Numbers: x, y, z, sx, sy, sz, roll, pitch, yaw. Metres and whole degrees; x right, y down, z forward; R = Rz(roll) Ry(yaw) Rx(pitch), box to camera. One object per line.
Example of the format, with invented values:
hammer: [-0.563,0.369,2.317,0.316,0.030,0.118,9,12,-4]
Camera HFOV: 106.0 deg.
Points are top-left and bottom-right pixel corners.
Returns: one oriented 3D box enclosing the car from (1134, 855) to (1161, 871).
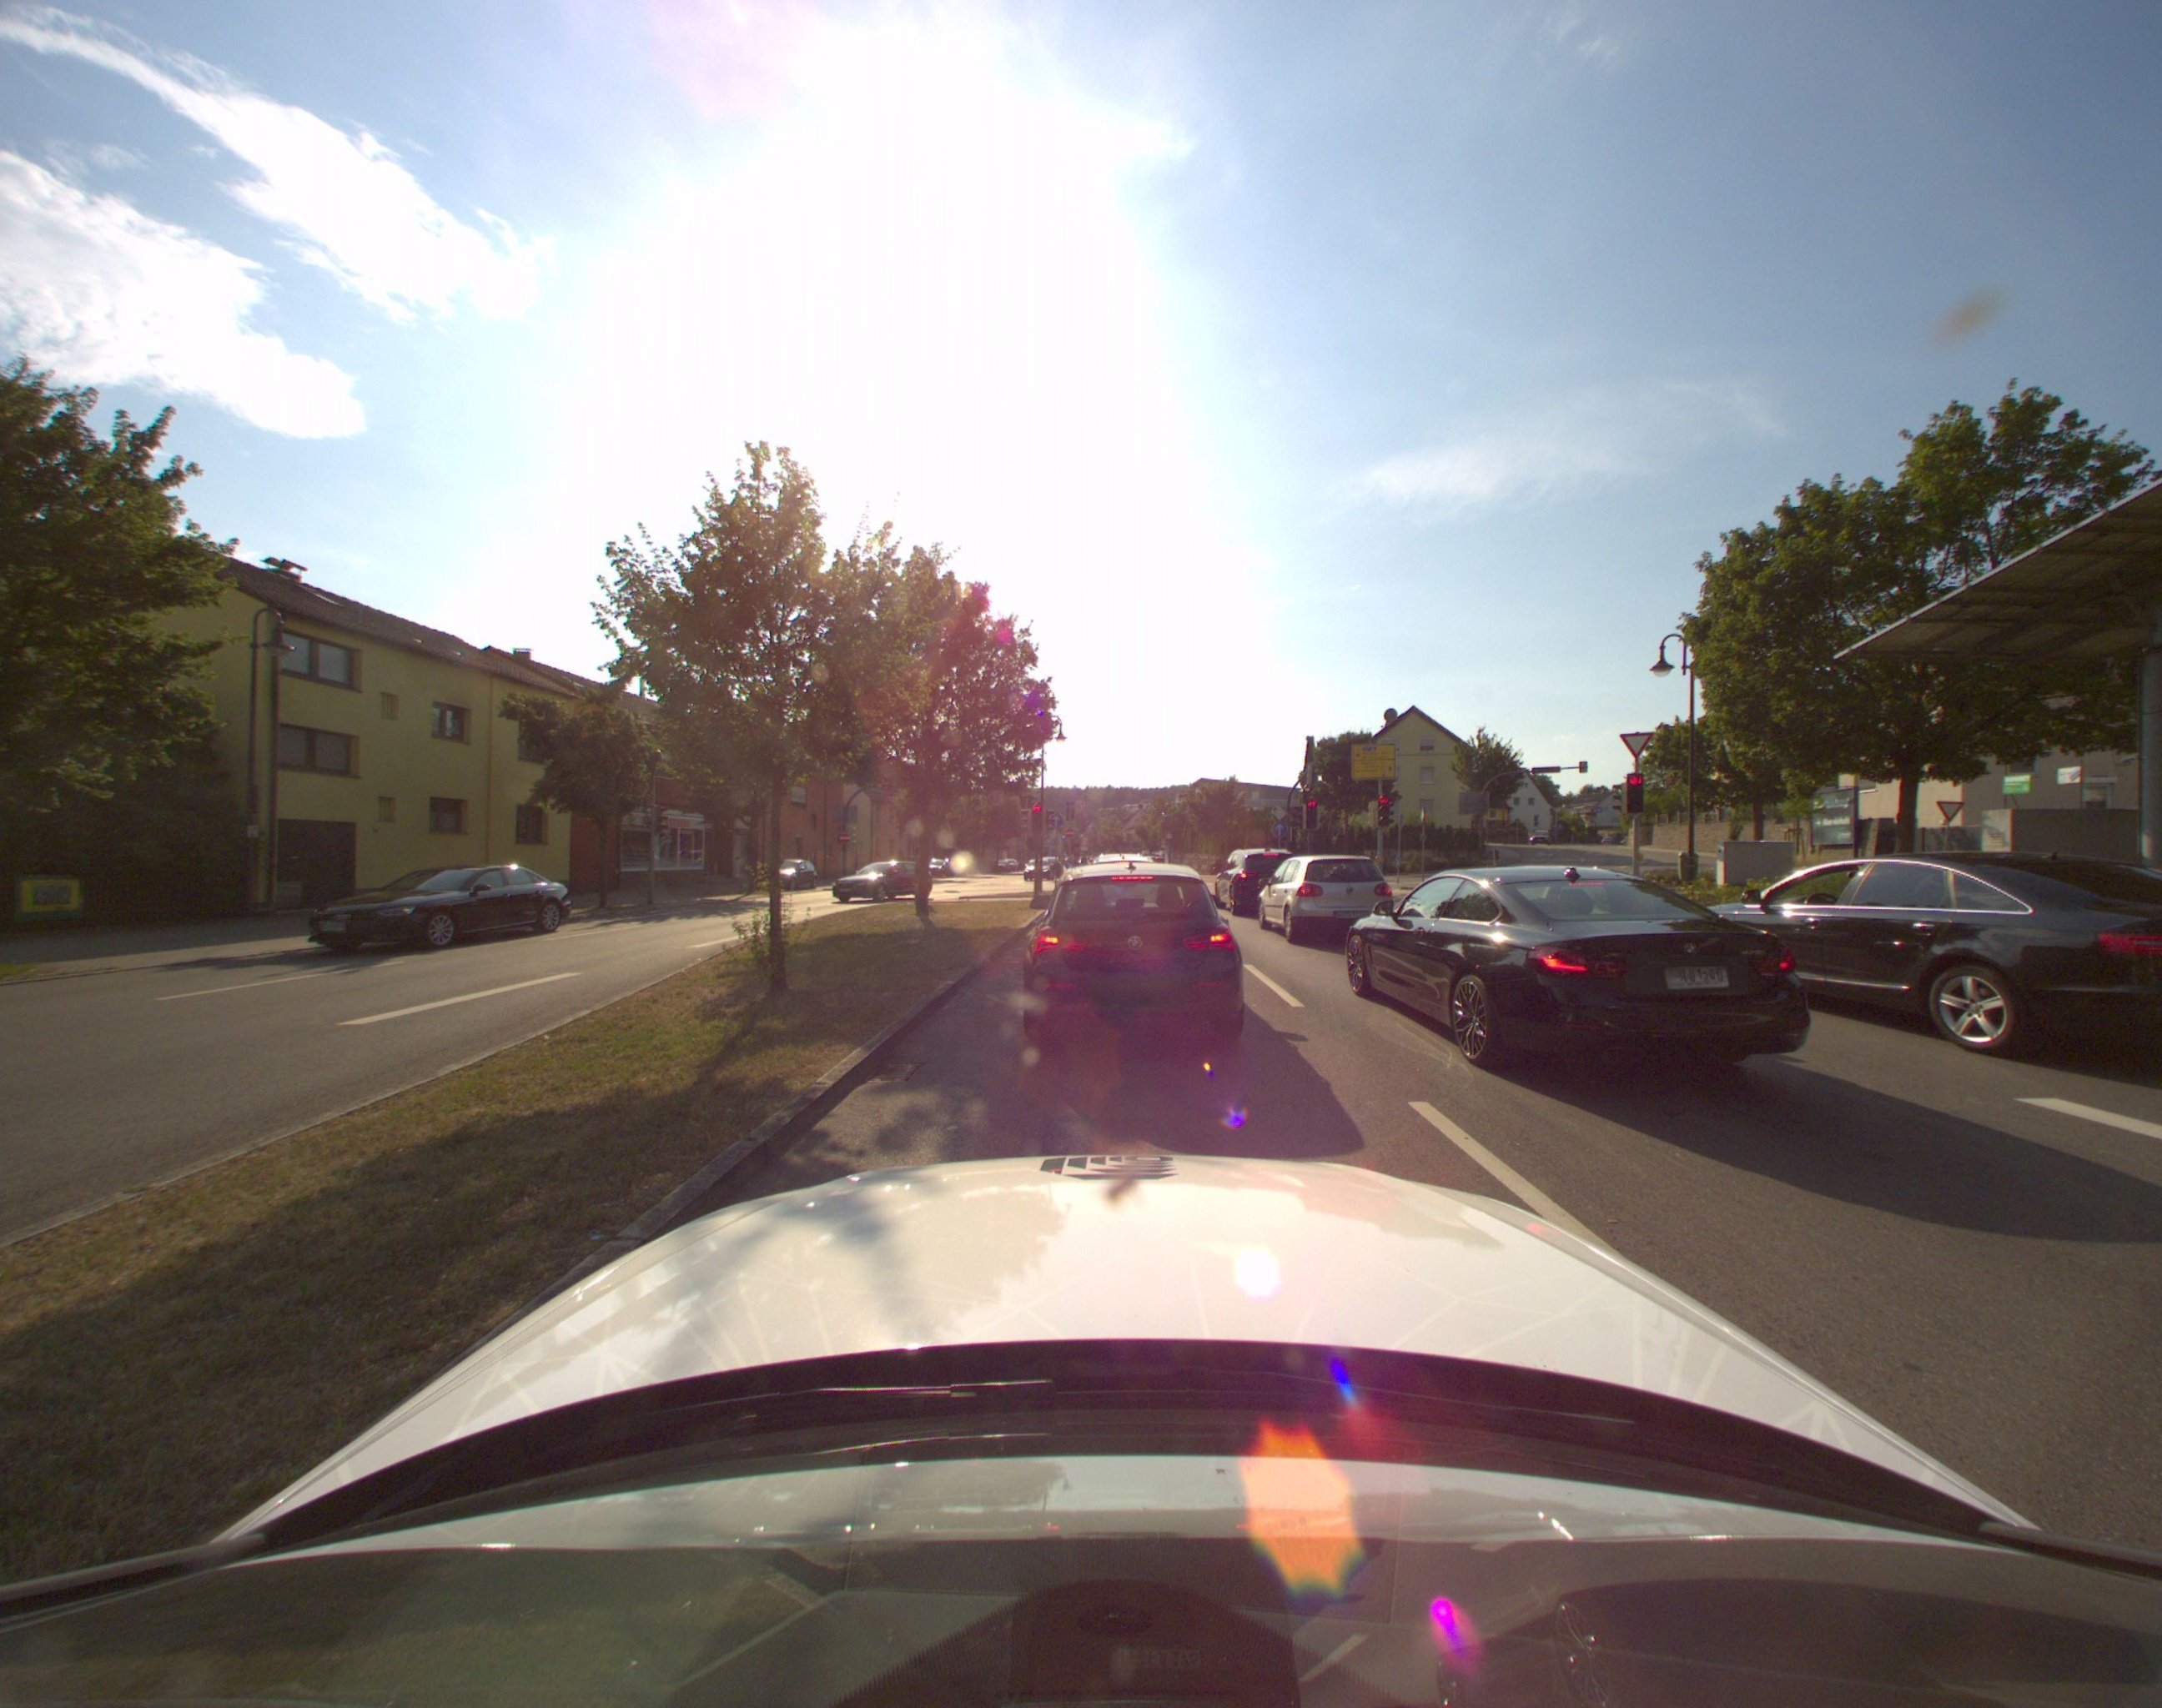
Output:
car: [6.302,0.835,77.709,1.858,1.485,4.652,0,0,-4]

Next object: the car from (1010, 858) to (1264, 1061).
car: [0.519,0.761,7.951,1.783,1.414,4.351,-1,0,3]

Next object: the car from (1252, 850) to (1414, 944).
car: [4.359,0.668,14.794,1.808,1.446,4.351,-1,0,3]

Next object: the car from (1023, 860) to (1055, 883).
car: [-2.859,1.169,56.255,1.759,1.458,4.004,0,0,4]

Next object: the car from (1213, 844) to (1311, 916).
car: [4.589,0.614,21.254,1.808,1.666,4.351,-1,0,3]

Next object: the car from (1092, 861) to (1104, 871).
car: [2.934,2.008,138.866,1.917,1.596,4.002,0,0,2]

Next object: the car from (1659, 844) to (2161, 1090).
car: [7.262,0.649,6.909,1.674,1.435,4.593,-1,0,3]

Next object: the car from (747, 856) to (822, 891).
car: [-14.178,0.896,39.153,1.835,1.552,4.005,2,0,5]

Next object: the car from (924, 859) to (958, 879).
car: [-11.640,1.233,68.158,1.916,1.596,4.004,0,0,4]

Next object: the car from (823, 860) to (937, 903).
car: [-7.130,0.932,29.346,1.630,1.386,4.214,0,0,26]

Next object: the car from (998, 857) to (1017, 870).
car: [-9.378,1.215,104.236,1.916,1.596,4.004,0,0,4]

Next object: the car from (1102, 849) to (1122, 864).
car: [3.719,0.287,99.022,1.887,1.702,4.518,-2,0,-4]

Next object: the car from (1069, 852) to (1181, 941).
car: [0.846,0.699,15.491,1.808,1.451,4.245,-1,0,3]

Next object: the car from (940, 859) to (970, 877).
car: [-11.409,1.230,74.032,1.916,1.596,4.004,0,0,4]

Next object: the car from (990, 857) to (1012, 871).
car: [-9.680,1.215,98.733,1.916,1.596,4.004,0,0,4]

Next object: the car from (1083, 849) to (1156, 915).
car: [1.084,0.696,22.423,1.808,1.641,4.245,-1,0,3]

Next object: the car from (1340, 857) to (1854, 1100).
car: [3.679,0.734,6.910,1.808,1.388,4.351,-1,0,3]

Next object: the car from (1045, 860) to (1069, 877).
car: [-2.016,1.222,70.458,1.685,1.353,4.004,0,0,4]

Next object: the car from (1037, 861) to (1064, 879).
car: [-2.315,1.222,63.220,1.685,1.353,4.004,0,0,4]

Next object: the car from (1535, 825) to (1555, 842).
car: [47.935,-2.129,84.121,1.769,1.506,4.096,0,4,30]

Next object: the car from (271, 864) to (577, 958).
car: [-11.849,0.939,15.213,1.836,1.421,4.646,0,0,2]

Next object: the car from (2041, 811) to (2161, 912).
car: [19.103,0.111,13.389,3.958,1.608,1.861,0,0,14]
